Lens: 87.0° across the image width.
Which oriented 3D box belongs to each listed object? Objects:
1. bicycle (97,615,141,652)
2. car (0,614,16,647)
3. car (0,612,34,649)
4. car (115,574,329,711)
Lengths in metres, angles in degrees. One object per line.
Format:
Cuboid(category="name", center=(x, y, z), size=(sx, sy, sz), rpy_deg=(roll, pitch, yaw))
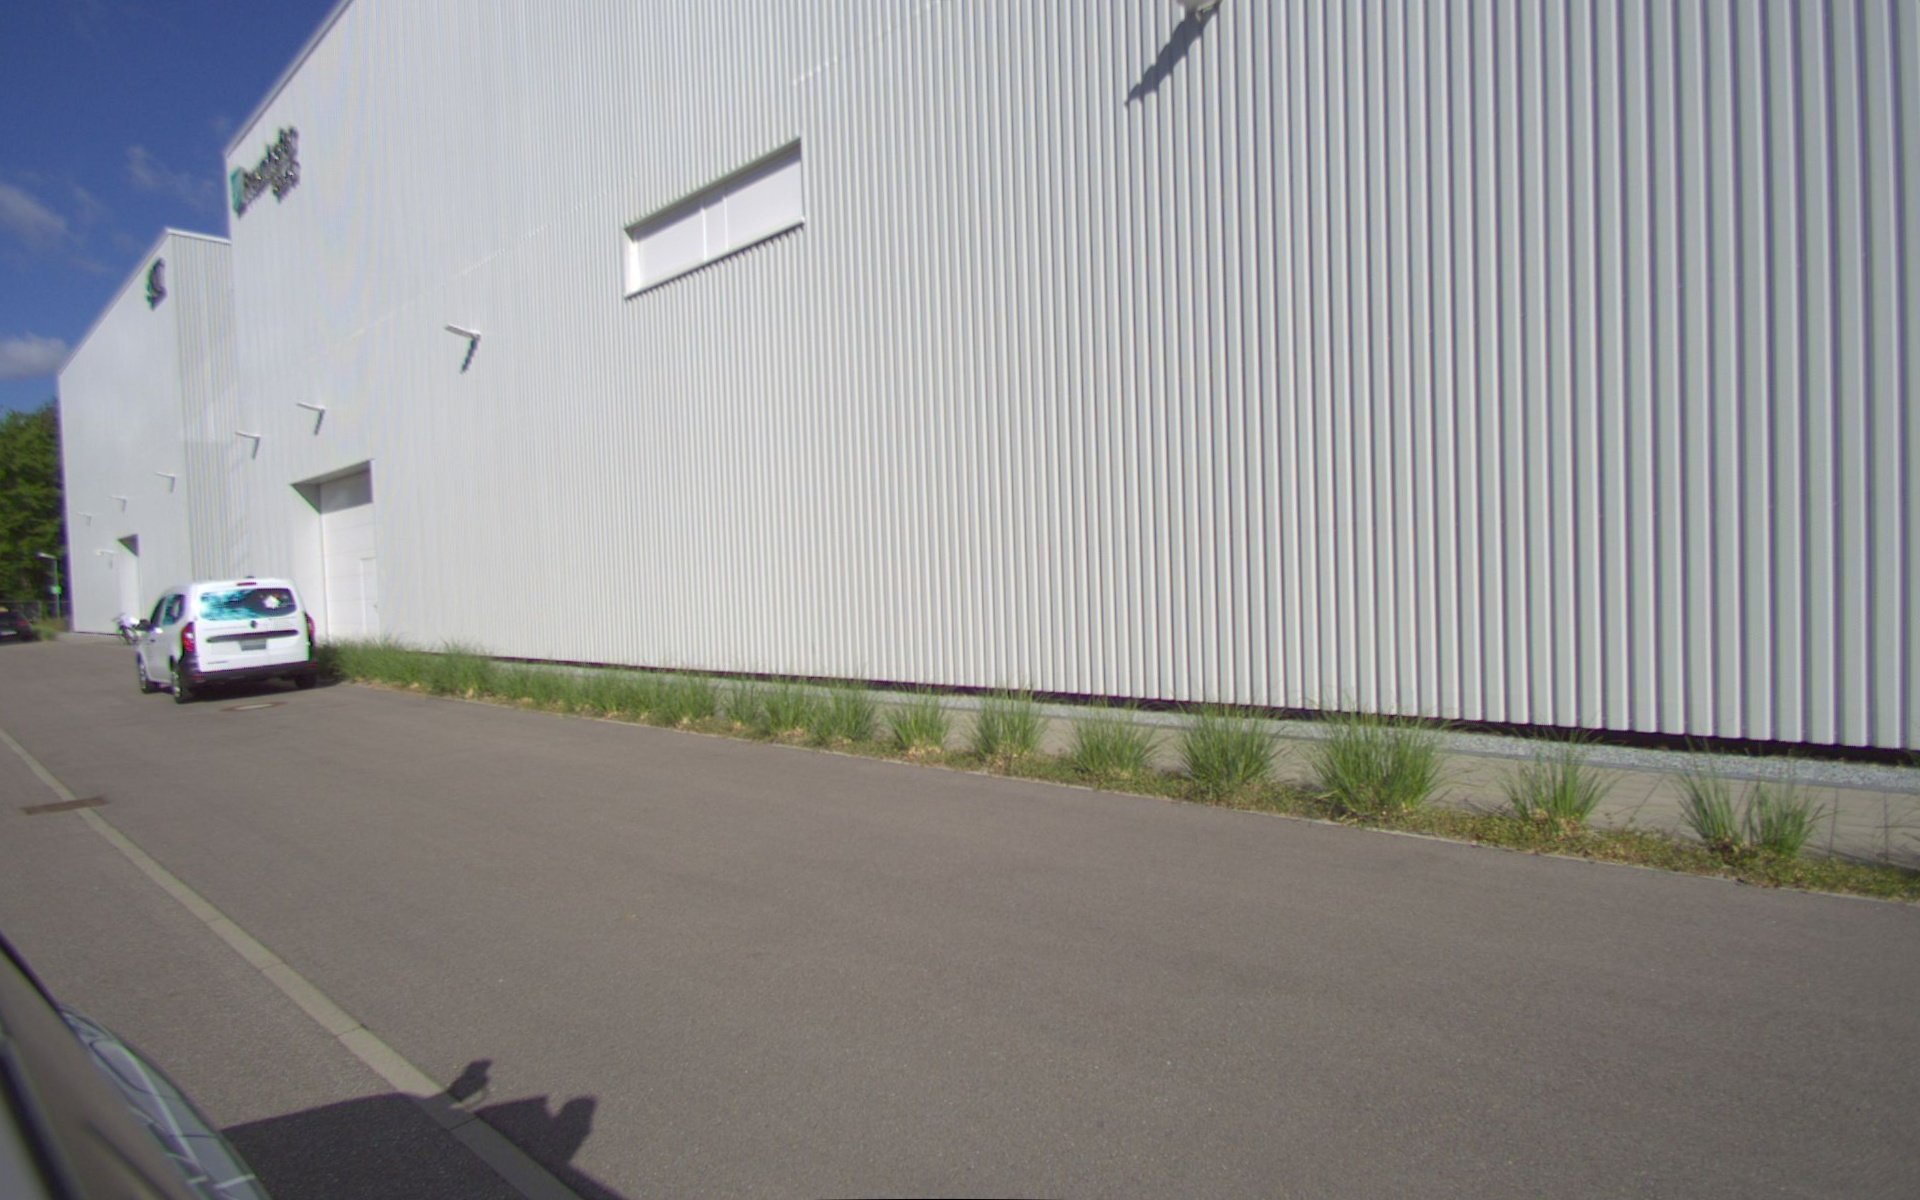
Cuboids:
Cuboid(category="bicycle", center=(-30.248, 1.185, 36.435), size=(0.895, 1.151, 1.905), rpy_deg=(-6, 4, -32))
Cuboid(category="car", center=(-47.264, 1.513, 49.163), size=(4.001, 1.533, 1.766), rpy_deg=(-1, 4, 44))
Cuboid(category="car", center=(-43.316, 1.401, 45.705), size=(4.001, 1.533, 1.870), rpy_deg=(-1, 4, 44))
Cuboid(category="car", center=(-12.162, 0.617, 16.566), size=(4.357, 1.859, 1.871), rpy_deg=(-1, 3, 42))
